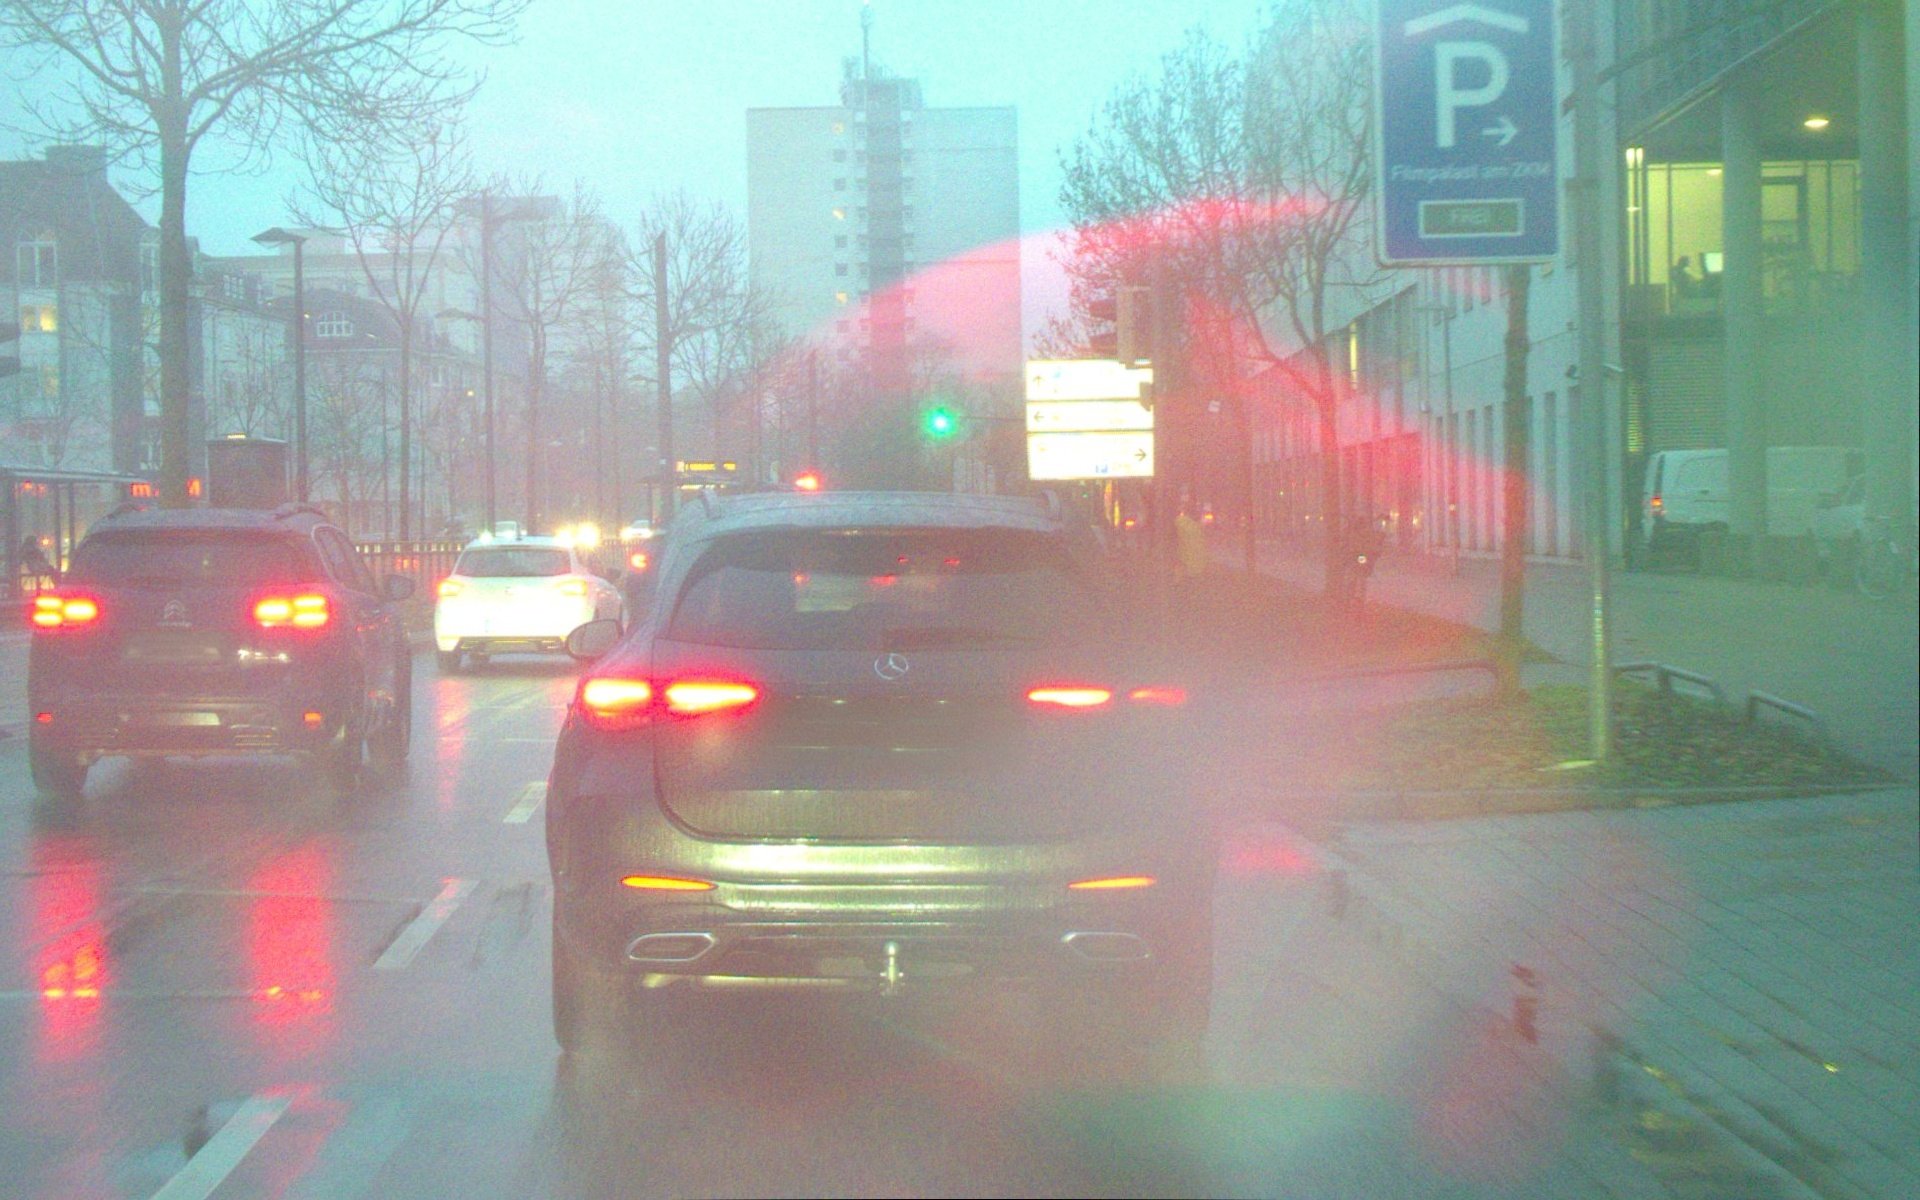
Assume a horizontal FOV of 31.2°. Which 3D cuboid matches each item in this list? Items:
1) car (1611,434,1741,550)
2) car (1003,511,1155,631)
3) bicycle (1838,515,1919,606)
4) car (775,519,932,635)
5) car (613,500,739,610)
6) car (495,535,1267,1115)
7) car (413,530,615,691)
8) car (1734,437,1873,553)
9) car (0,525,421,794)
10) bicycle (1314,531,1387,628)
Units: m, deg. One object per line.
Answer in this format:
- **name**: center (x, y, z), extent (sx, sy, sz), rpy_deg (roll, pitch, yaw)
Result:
- **car**: center (11.322, -1.694, 54.552), extent (1.627, 1.753, 3.421), rpy_deg (1, 1, 6)
- **car**: center (1.584, -0.416, 46.979), extent (1.849, 1.550, 3.432), rpy_deg (1, 1, -1)
- **bicycle**: center (9.828, -0.431, 36.729), extent (0.373, 0.926, 1.081), rpy_deg (0, 3, -14)
- **car**: center (-1.469, -0.354, 48.726), extent (1.867, 1.537, 3.610), rpy_deg (1, 1, 4)
- **car**: center (-4.709, -0.753, 57.335), extent (1.662, 1.753, 3.568), rpy_deg (1, 1, 2)
- **car**: center (-0.189, 0.555, 10.831), extent (1.993, 1.478, 3.700), rpy_deg (1, 1, 1)
- **car**: center (-4.819, 0.074, 37.518), extent (1.690, 1.629, 3.474), rpy_deg (1, 1, 1)
- **car**: center (13.290, -1.640, 54.323), extent (1.627, 1.753, 3.421), rpy_deg (1, 1, 6)
- **car**: center (-4.480, 0.283, 20.927), extent (1.817, 1.445, 4.000), rpy_deg (1, 1, -1)
- **bicycle**: center (4.010, -0.222, 35.357), extent (0.545, 0.962, 1.346), rpy_deg (1, 1, -2)
